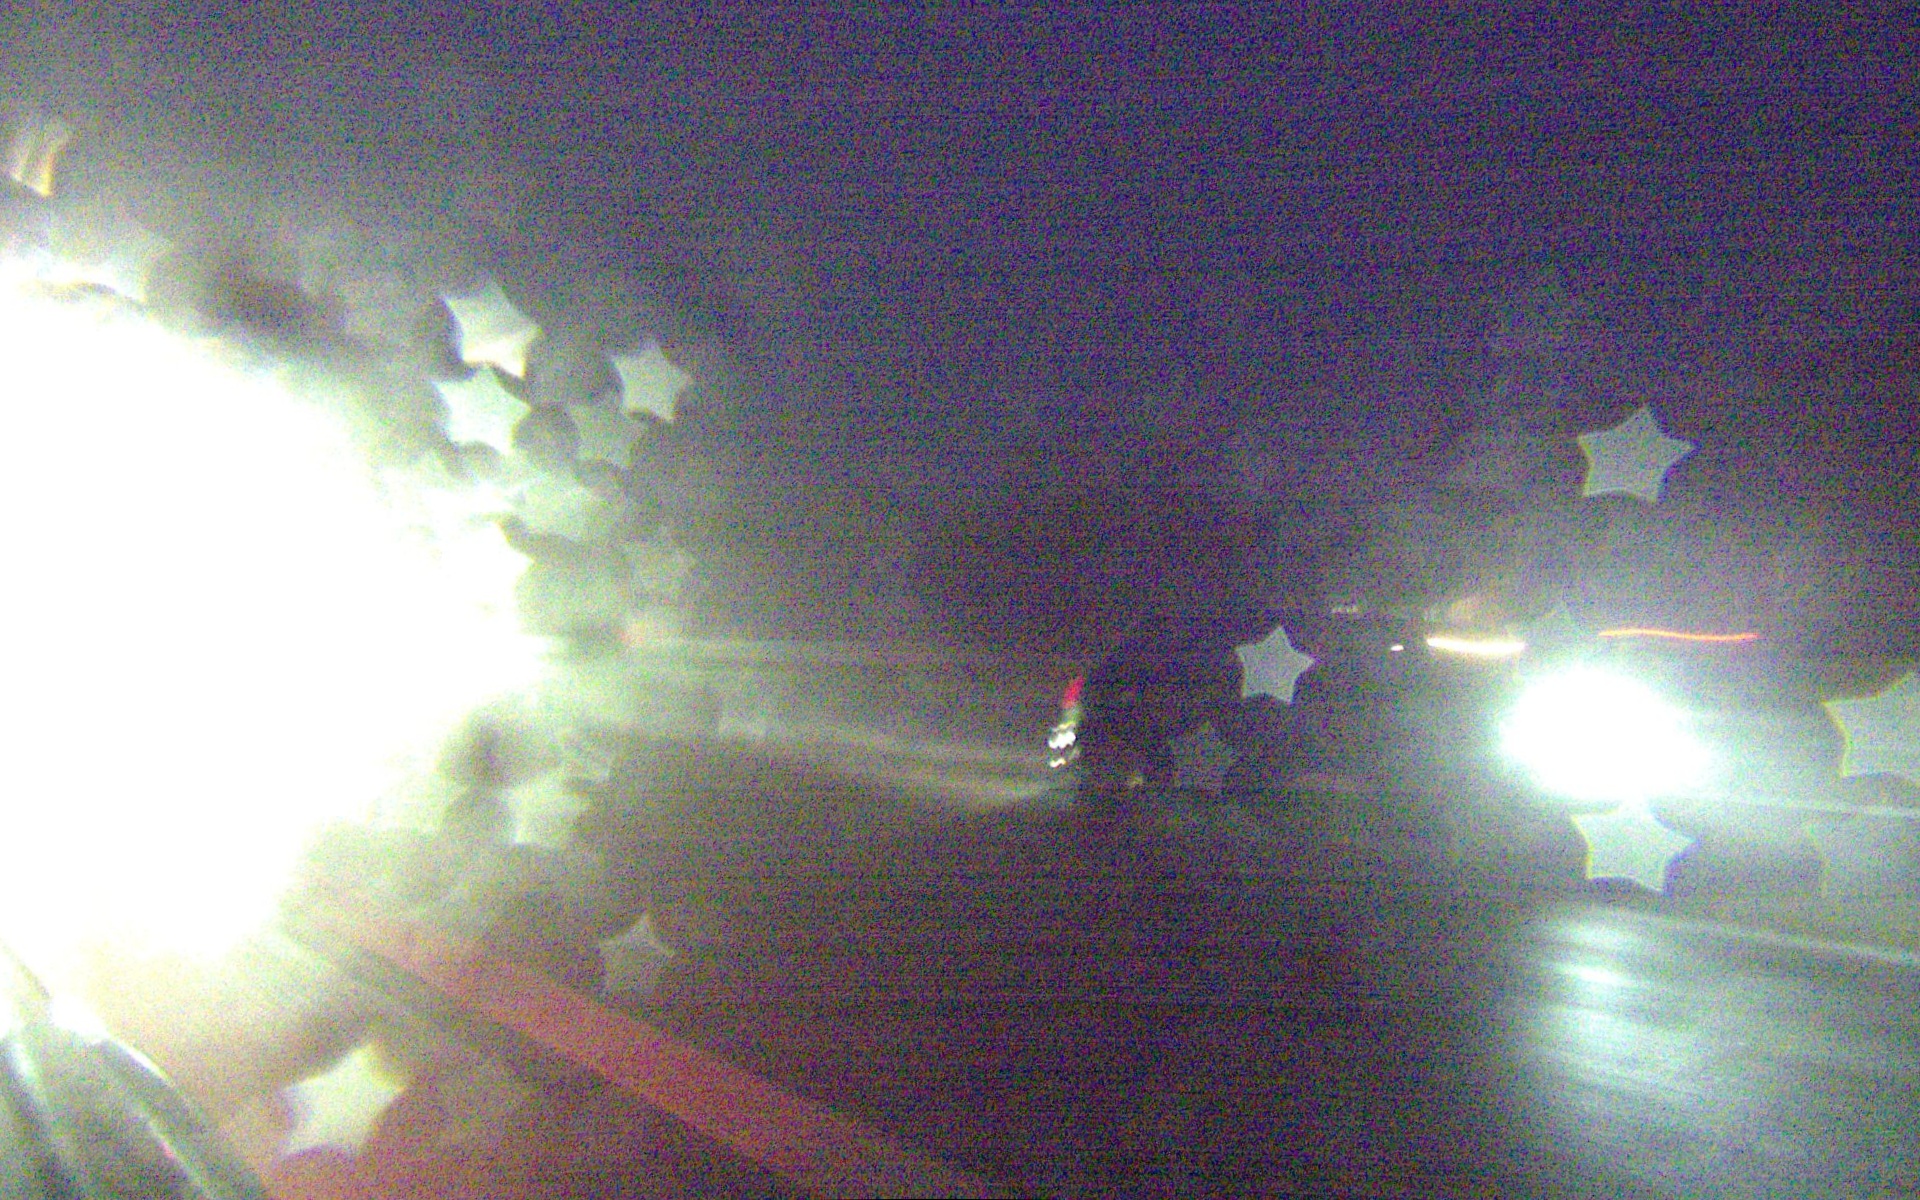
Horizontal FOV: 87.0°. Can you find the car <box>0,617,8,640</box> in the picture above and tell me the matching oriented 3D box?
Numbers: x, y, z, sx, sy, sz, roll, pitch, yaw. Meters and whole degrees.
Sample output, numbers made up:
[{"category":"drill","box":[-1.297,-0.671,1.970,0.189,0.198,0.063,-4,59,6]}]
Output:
[{"category":"car","box":[-79.482,2.321,82.836,3.999,1.821,1.972,-1,0,42]}]

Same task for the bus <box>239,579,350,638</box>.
[{"category":"bus","box":[-55.374,0.730,83.839,17.001,4.524,3.043,-1,0,41]}]

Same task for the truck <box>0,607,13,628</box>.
[{"category":"truck","box":[-189.726,3.481,199.013,17.172,3.917,3.463,-1,0,41]}]

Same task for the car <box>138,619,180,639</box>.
[{"category":"car","box":[-66.598,2.412,84.131,4.456,1.569,1.861,-1,0,40]}]

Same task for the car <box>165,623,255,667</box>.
[{"category":"car","box":[-29.822,1.722,40.191,4.586,1.572,1.973,-1,0,41]}]

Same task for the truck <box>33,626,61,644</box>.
[{"category":"truck","box":[-126.466,4.793,140.103,6.434,2.365,1.973,-1,0,40]}]

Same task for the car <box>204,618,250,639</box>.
[{"category":"car","box":[-57.542,2.244,79.451,4.456,1.569,1.861,-1,0,40]}]

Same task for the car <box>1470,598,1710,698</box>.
[{"category":"car","box":[12.836,0.921,20.711,3.994,1.821,1.886,-1,0,38]}]

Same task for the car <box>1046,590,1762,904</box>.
[{"category":"car","box":[2.781,0.705,6.793,3.998,1.452,1.973,-1,0,41]}]
